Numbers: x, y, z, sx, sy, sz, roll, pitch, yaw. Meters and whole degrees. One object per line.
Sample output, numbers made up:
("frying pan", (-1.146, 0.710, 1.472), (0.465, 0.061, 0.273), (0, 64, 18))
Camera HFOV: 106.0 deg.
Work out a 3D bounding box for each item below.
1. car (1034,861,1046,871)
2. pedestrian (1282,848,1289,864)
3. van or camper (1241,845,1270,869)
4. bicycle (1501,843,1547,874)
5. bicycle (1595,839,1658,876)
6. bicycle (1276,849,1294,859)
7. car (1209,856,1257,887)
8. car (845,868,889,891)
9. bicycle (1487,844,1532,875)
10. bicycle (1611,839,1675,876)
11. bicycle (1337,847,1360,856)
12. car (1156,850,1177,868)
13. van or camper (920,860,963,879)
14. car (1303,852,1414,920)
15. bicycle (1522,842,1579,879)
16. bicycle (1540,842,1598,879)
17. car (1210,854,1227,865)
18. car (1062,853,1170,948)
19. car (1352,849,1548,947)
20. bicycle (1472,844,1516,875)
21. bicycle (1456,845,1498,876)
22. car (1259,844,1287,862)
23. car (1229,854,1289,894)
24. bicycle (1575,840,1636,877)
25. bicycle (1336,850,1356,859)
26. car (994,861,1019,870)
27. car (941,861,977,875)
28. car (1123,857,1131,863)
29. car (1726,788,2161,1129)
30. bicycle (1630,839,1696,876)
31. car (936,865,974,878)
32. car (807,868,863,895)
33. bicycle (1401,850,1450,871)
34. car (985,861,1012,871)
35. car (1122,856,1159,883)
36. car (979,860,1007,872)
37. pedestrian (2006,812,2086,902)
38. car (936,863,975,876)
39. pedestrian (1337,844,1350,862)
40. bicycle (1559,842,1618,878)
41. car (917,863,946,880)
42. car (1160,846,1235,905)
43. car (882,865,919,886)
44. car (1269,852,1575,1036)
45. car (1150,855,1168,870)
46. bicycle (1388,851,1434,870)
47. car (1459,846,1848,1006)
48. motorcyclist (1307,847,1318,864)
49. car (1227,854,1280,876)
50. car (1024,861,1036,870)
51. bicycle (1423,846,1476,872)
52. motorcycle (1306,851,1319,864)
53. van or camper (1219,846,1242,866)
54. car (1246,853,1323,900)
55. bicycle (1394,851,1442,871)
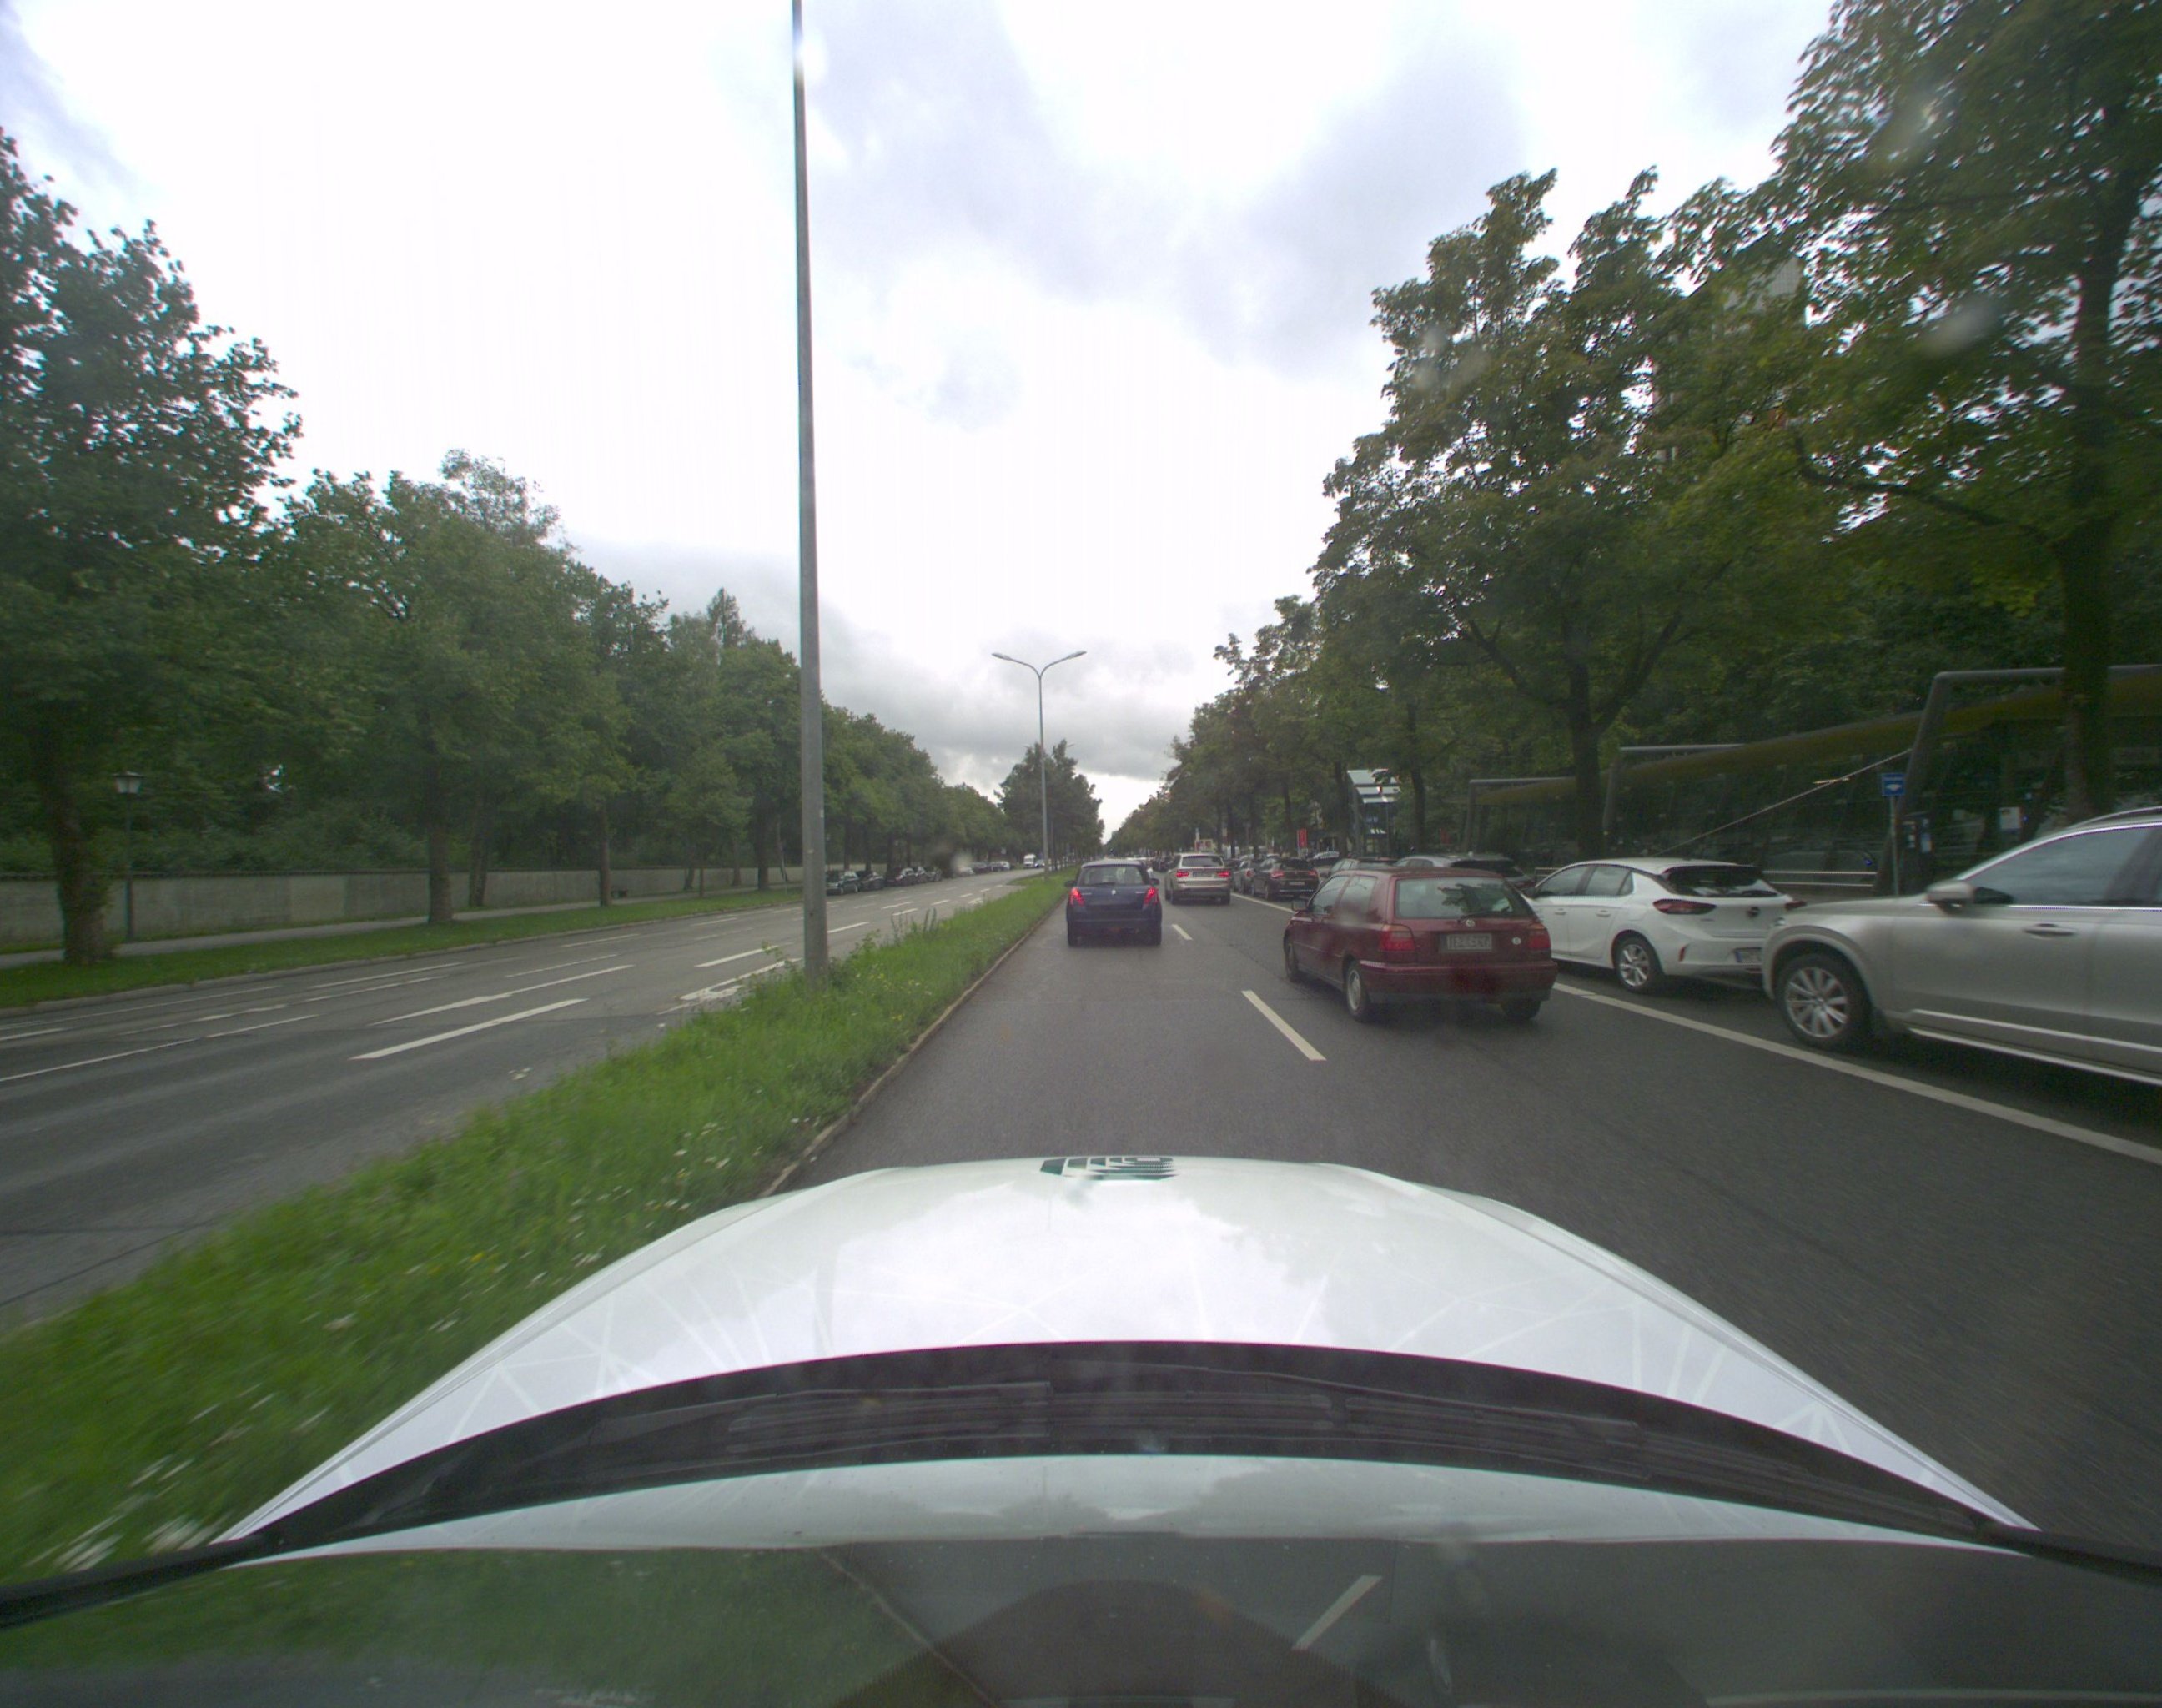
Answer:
("car", (-7.233, 2.072, 143.337), (1.907, 1.542, 4.187), (-2, 0, 0))
("pedestrian", (22.929, 0.226, 91.180), (0.572, 1.751, 0.733), (-2, -1, 6))
("van or camper", (19.262, 0.340, 90.105), (1.986, 2.558, 5.959), (-2, 0, 2))
("bicycle", (19.275, 0.184, 35.460), (0.642, 1.280, 2.551), (-2, 0, 2))
("bicycle", (20.110, 0.144, 30.106), (0.642, 1.280, 2.551), (-2, 0, 2))
("bicycle", (32.620, -0.032, 130.031), (2.605, 1.508, 0.797), (-2, -1, -5))
("car", (7.619, 0.863, 41.086), (1.627, 1.439, 4.305), (-2, 0, 1))
("car", (-14.540, 1.701, 55.511), (1.653, 1.396, 4.708), (-1, 0, 2))
("bicycle", (18.607, 0.242, 35.458), (0.642, 1.280, 2.551), (-2, 0, 2))
("bicycle", (20.863, 0.137, 30.291), (0.642, 1.280, 2.551), (-2, 0, 2))
("bicycle", (31.079, -0.287, 94.584), (0.776, 0.870, 2.373), (-1, -1, -44))
("car", (8.458, 0.483, 81.046), (1.755, 1.701, 4.822), (-2, 0, 2))
("van or camper", (-14.916, 1.634, 87.261), (4.146, 1.854, 1.829), (-2, -1, -39))
("car", (6.921, 0.736, 20.719), (1.536, 1.534, 4.092), (1, 0, 1))
("bicycle", (17.350, 0.244, 30.166), (0.642, 1.280, 2.551), (-2, 0, 2))
("bicycle", (18.018, 0.235, 30.155), (0.642, 1.280, 2.551), (-2, 0, 2))
("car", (19.915, 0.797, 118.236), (1.679, 1.632, 4.497), (-2, 0, 0))
("car", (0.596, 0.795, 15.760), (1.783, 1.555, 3.999), (-2, 0, 0))
("car", (6.567, 0.706, 15.072), (1.714, 1.534, 4.400), (-1, 0, 1))
("bicycle", (17.933, 0.248, 35.445), (0.642, 1.280, 2.551), (-2, 0, 2))
("bicycle", (17.218, 0.272, 35.484), (0.642, 1.280, 2.551), (-2, 0, 2))
("car", (19.200, -0.090, 81.575), (1.986, 1.651, 4.002), (-2, 0, 2))
("car", (7.210, 0.779, 33.370), (1.628, 1.453, 4.079), (-2, 0, 2))
("bicycle", (19.346, 0.179, 30.107), (0.642, 1.280, 2.551), (-2, 0, 2))
("bicycle", (30.425, 0.061, 93.653), (0.751, 0.958, 2.022), (-1, -1, -45))
("car", (-13.405, 2.110, 146.807), (4.122, 1.474, 1.687), (-1, -1, -32))
("car", (-15.300, 1.735, 102.271), (4.127, 1.597, 1.897), (-2, 0, -38))
("car", (11.476, 1.513, 202.662), (1.844, 1.447, 4.097), (-2, 0, 0))
("car", (6.332, 0.514, 4.519), (1.741, 1.724, 4.908), (-1, 0, 2))
("bicycle", (21.563, 0.130, 30.251), (0.642, 1.280, 2.551), (-2, 0, 2))
("car", (-14.952, 2.041, 96.631), (4.059, 1.381, 1.657), (-2, 0, -34))
("car", (-14.881, 1.651, 49.537), (1.792, 1.490, 4.917), (-1, 0, 2))
("bicycle", (19.891, 0.383, 47.018), (2.533, 1.089, 0.647), (-2, -1, 1))
("car", (-13.972, 2.022, 137.582), (4.122, 1.585, 1.900), (-2, 0, -32))
("car", (3.358, 0.850, 46.667), (1.844, 1.447, 4.097), (-2, 0, 0))
("car", (-14.510, 1.963, 133.954), (4.122, 1.695, 1.900), (-2, 0, -32))
("pedestrian", (16.682, 0.051, 14.094), (0.580, 1.513, 0.690), (-1, -1, -17))
("car", (-14.475, 1.804, 93.791), (4.015, 1.354, 1.831), (-2, 0, -33))
("pedestrian", (25.142, -0.107, 77.929), (0.825, 1.721, 0.940), (-4, -1, 1))
("bicycle", (18.771, 0.223, 30.212), (0.642, 1.280, 2.551), (-2, 0, 2))
("car", (-13.906, 1.588, 76.020), (1.629, 1.439, 4.812), (-1, 0, 3))
("car", (3.768, 0.673, 27.018), (1.844, 1.743, 4.097), (-2, 0, 0))
("car", (-14.111, 1.682, 63.857), (1.563, 1.503, 4.310), (-1, 0, 6))
("car", (3.236, 0.741, 8.616), (1.616, 1.454, 3.950), (-2, 0, 1))
("car", (8.969, 0.922, 94.075), (1.758, 1.651, 4.425), (-1, 0, 1))
("bicycle", (19.980, 0.387, 49.308), (2.533, 1.089, 0.647), (-2, -1, 1))
("car", (6.625, 0.714, 10.188), (1.696, 1.508, 4.503), (-2, 0, 0))
("motorcyclist", (24.401, 0.147, 85.958), (0.688, 1.737, 0.953), (-6, -1, 1))
("car", (13.533, 0.864, 63.711), (1.948, 1.625, 4.877), (-2, -1, 39))
("car", (-9.709, 2.132, 155.200), (1.907, 1.542, 4.187), (-2, 0, 0))
("bicycle", (19.644, 0.268, 43.438), (2.533, 1.280, 0.647), (-2, -1, 1))
("motorcycle", (24.405, 0.380, 85.716), (0.693, 1.290, 2.067), (-6, -1, 2))
("van or camper", (19.530, 0.269, 106.724), (2.016, 2.558, 5.959), (-2, 0, 2))
("car", (7.073, 0.744, 28.680), (1.711, 1.508, 4.225), (-2, 0, 2))
("bicycle", (19.918, 0.386, 48.089), (2.533, 1.089, 0.647), (-2, -1, 1))
